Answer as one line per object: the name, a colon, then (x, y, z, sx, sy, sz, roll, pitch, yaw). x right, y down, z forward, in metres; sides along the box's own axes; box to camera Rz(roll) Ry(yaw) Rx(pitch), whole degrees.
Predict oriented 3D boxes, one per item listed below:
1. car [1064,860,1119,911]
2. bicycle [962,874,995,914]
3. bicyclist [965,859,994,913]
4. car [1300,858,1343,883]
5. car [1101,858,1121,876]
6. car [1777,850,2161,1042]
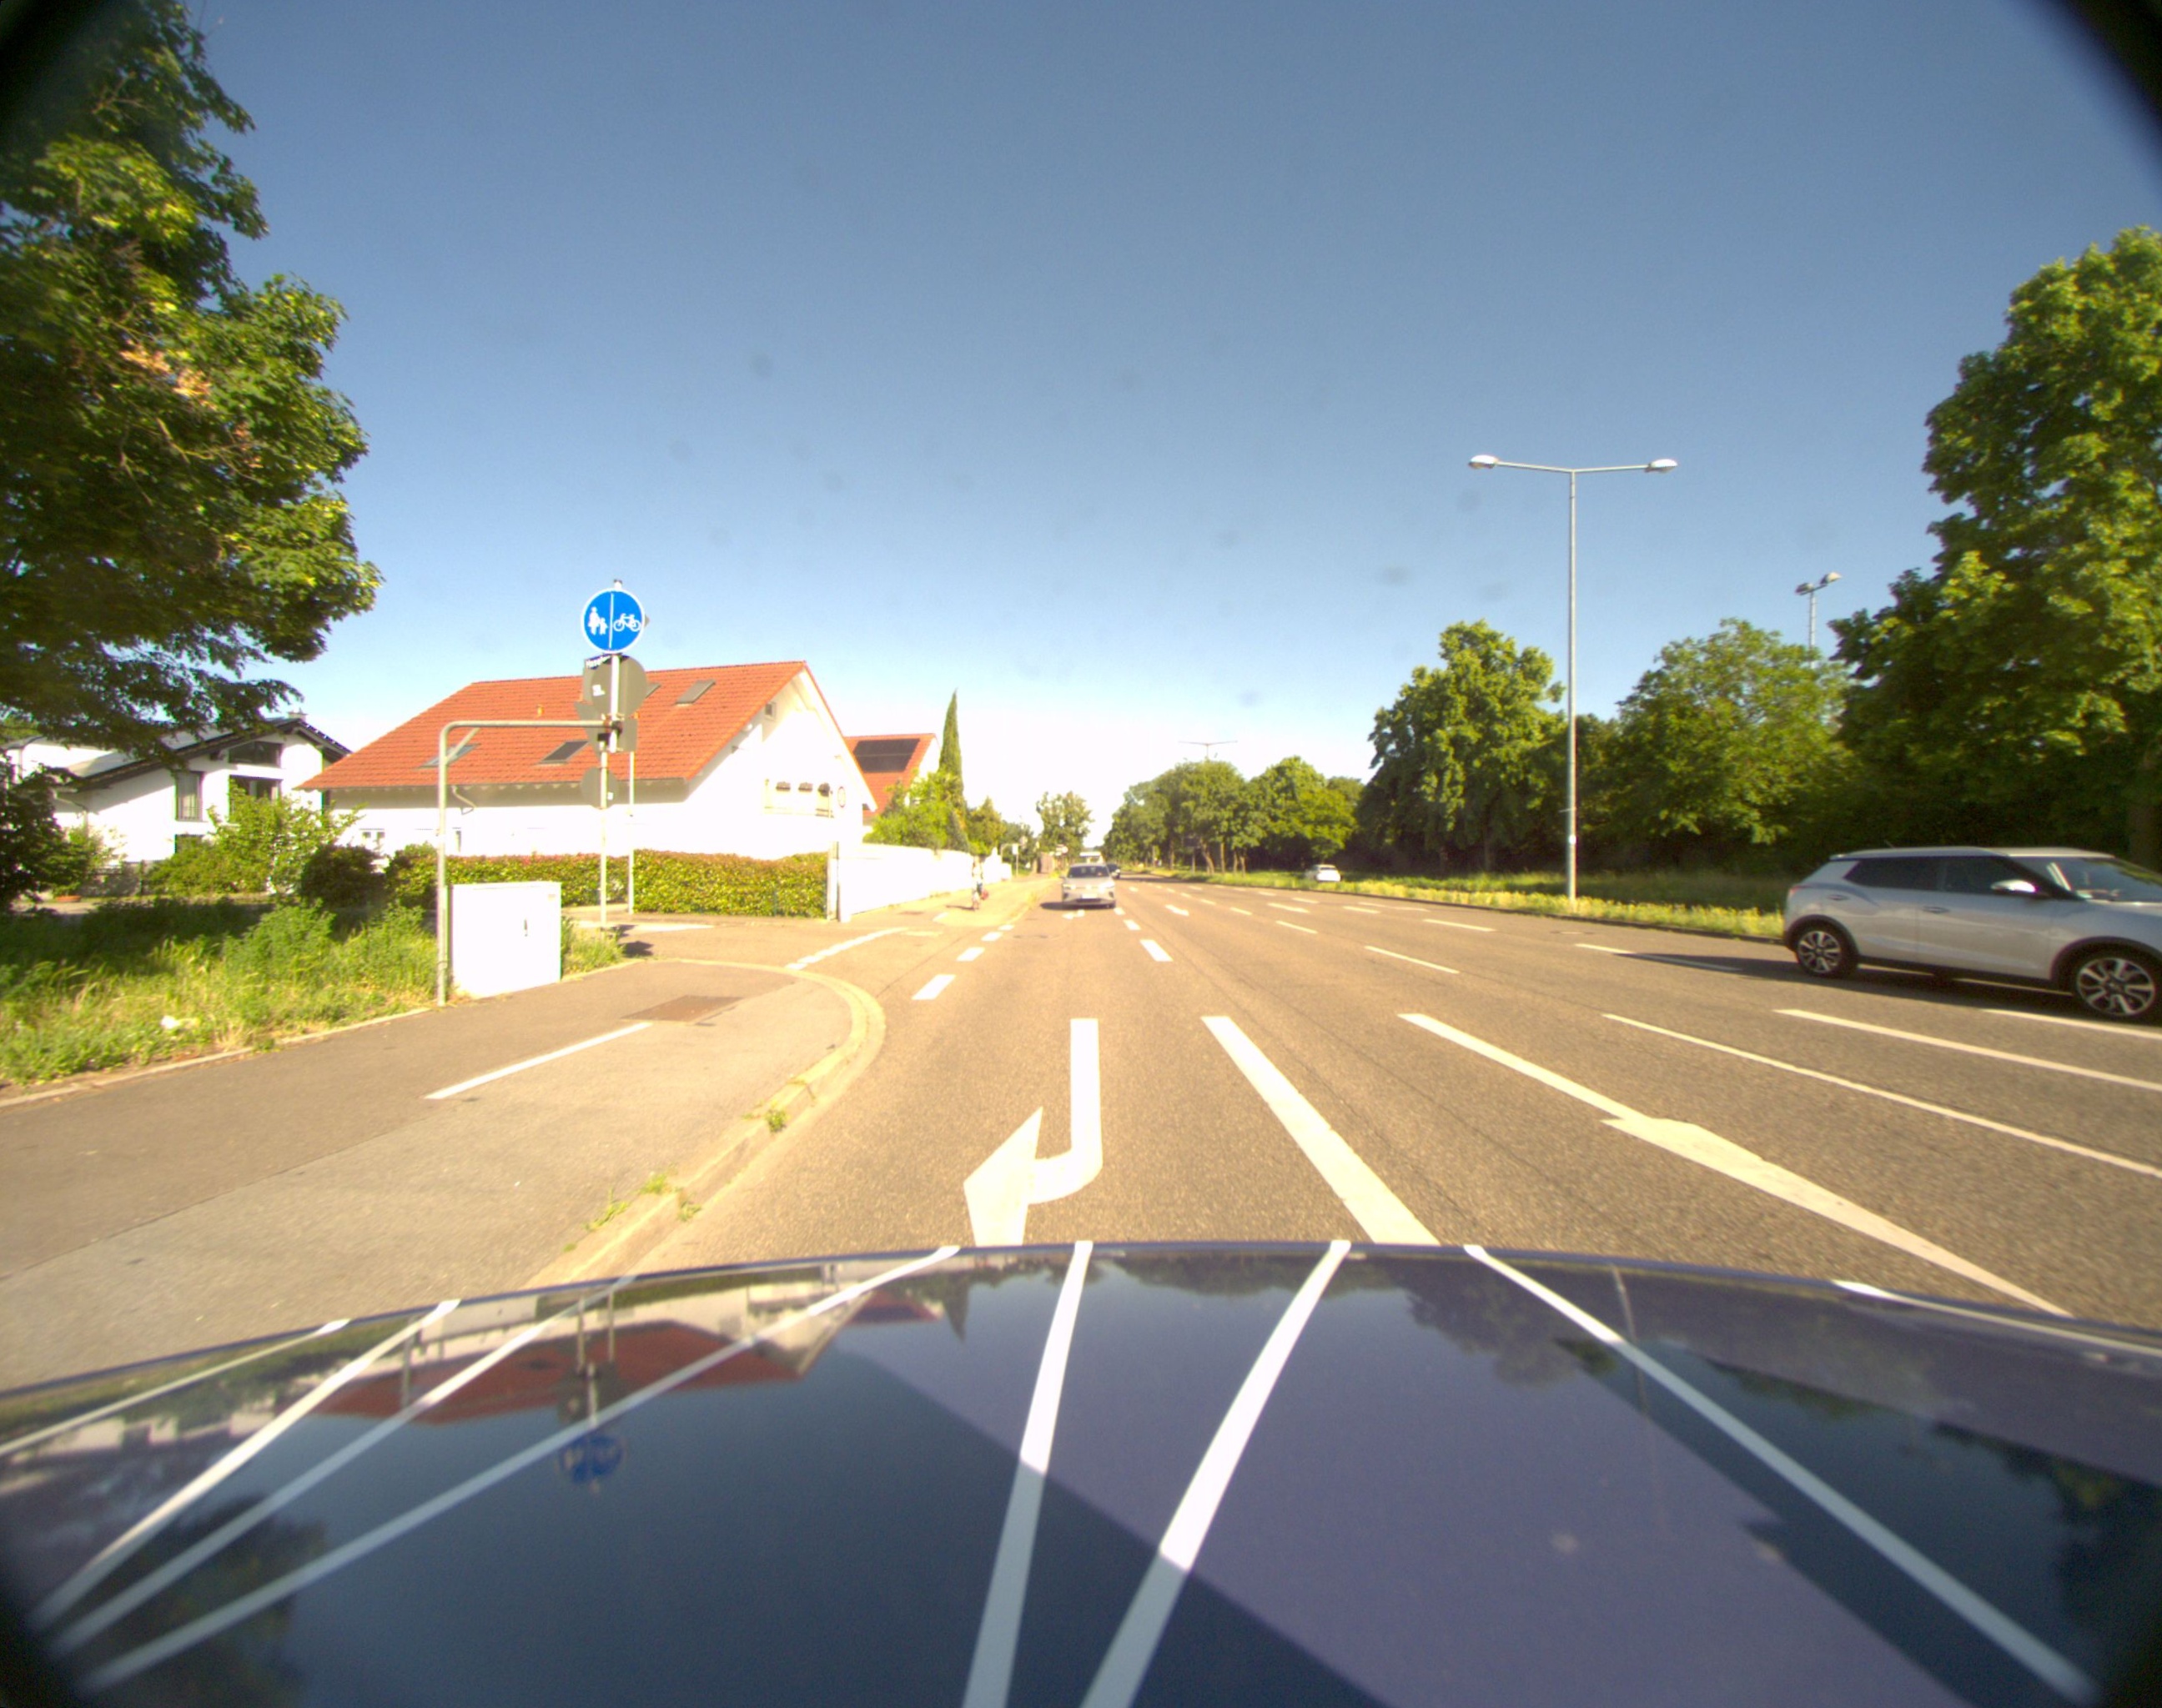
car: (0.363, 1.070, 27.651, 1.766, 1.606, 4.297, -2, 0, 0)
bicycle: (-3.180, 1.220, 23.785, 0.575, 1.148, 2.141, 3, -1, 3)
bicyclist: (-3.168, 0.983, 23.806, 0.631, 1.623, 0.982, 3, 0, 3)
car: (18.557, 1.250, 58.892, 1.917, 1.693, 4.407, -2, 1, 1)
car: (2.912, 1.212, 73.943, 1.766, 1.606, 4.297, -1, 0, 0)
car: (9.922, 0.769, 7.817, 1.789, 1.600, 4.106, 0, 0, 0)
